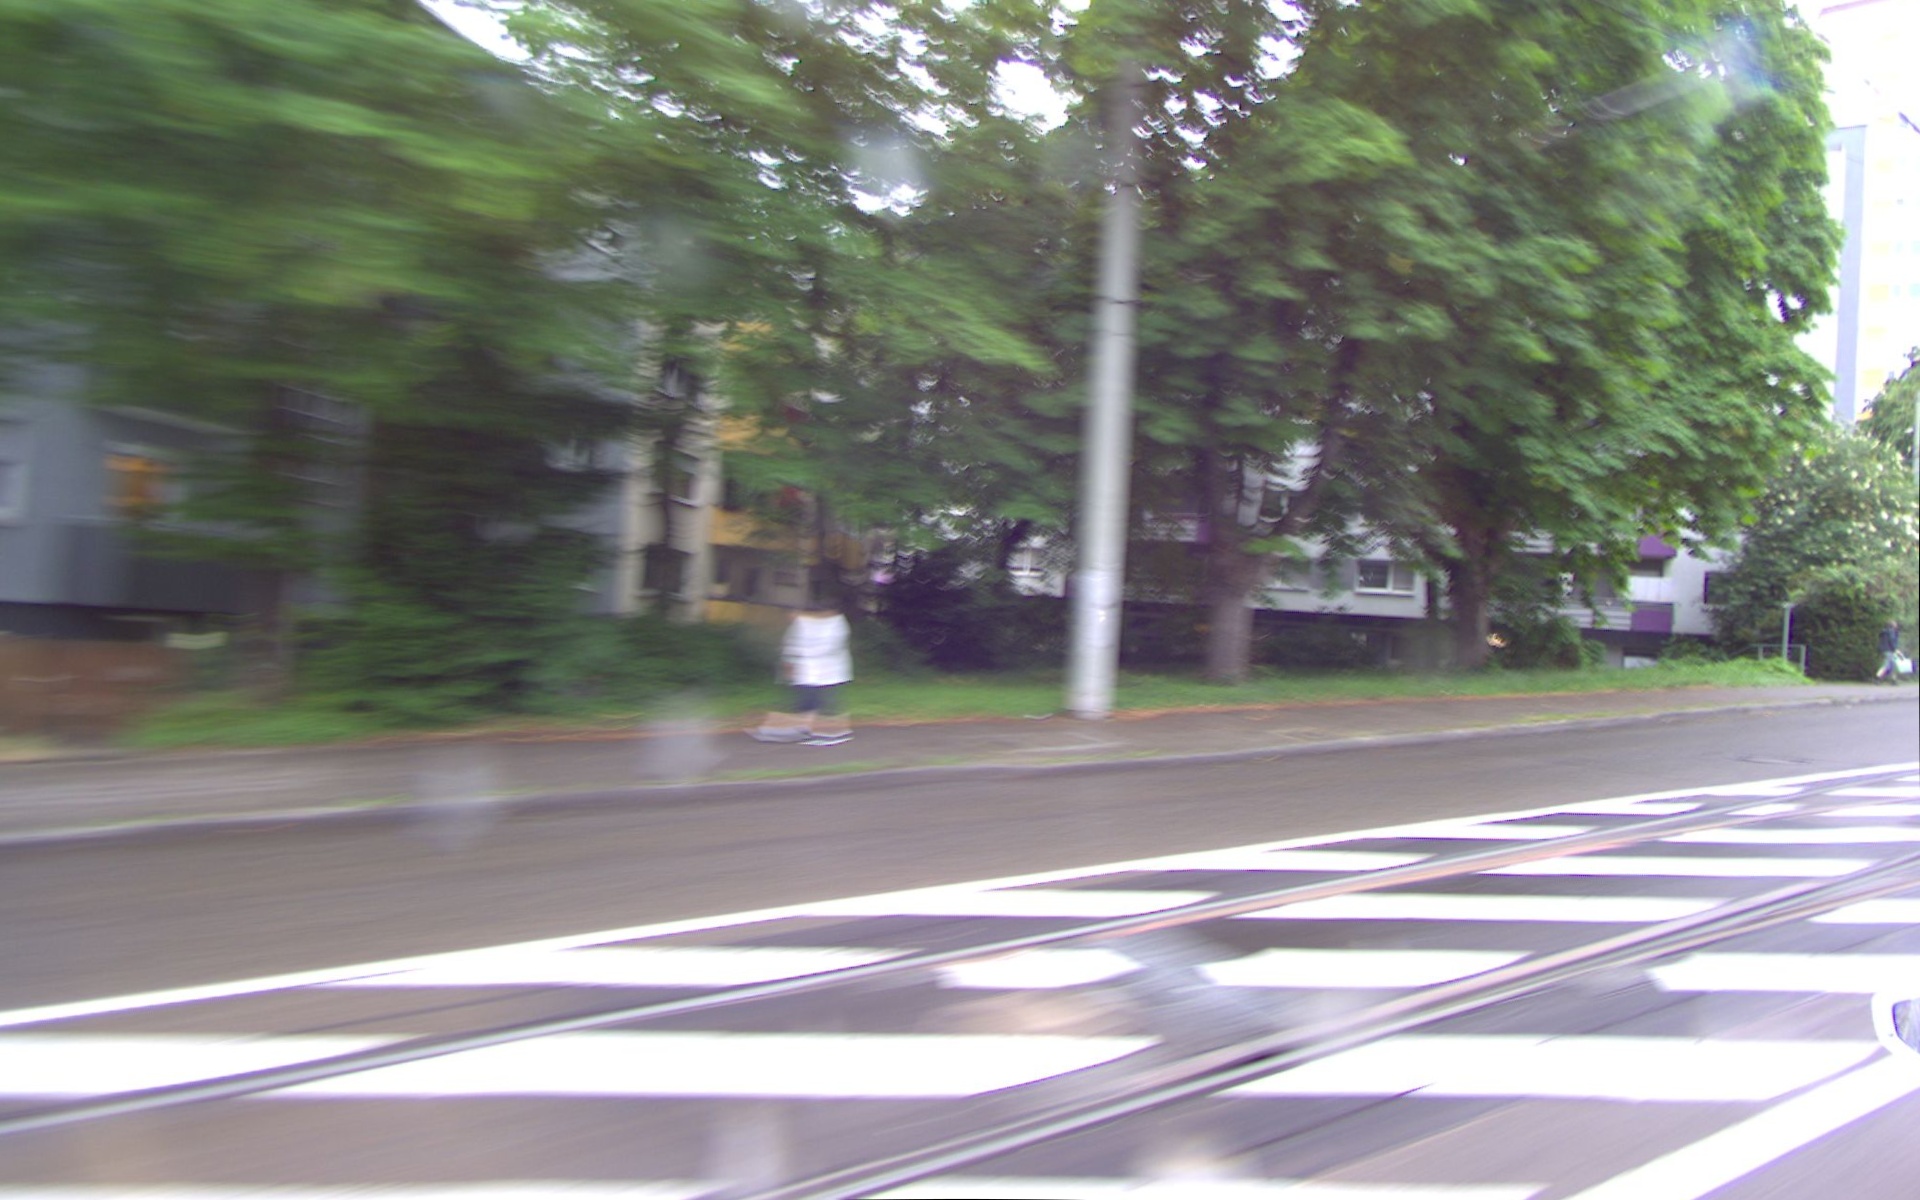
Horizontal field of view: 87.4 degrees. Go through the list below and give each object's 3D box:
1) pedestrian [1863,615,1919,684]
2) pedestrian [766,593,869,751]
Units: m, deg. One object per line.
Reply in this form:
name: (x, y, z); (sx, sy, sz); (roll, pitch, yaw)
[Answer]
pedestrian: (24.314, 1.287, 26.195); (0.906, 1.699, 0.736); (6, -1, -24)
pedestrian: (-1.551, 0.769, 10.919); (0.860, 1.621, 0.579); (3, 2, -33)
